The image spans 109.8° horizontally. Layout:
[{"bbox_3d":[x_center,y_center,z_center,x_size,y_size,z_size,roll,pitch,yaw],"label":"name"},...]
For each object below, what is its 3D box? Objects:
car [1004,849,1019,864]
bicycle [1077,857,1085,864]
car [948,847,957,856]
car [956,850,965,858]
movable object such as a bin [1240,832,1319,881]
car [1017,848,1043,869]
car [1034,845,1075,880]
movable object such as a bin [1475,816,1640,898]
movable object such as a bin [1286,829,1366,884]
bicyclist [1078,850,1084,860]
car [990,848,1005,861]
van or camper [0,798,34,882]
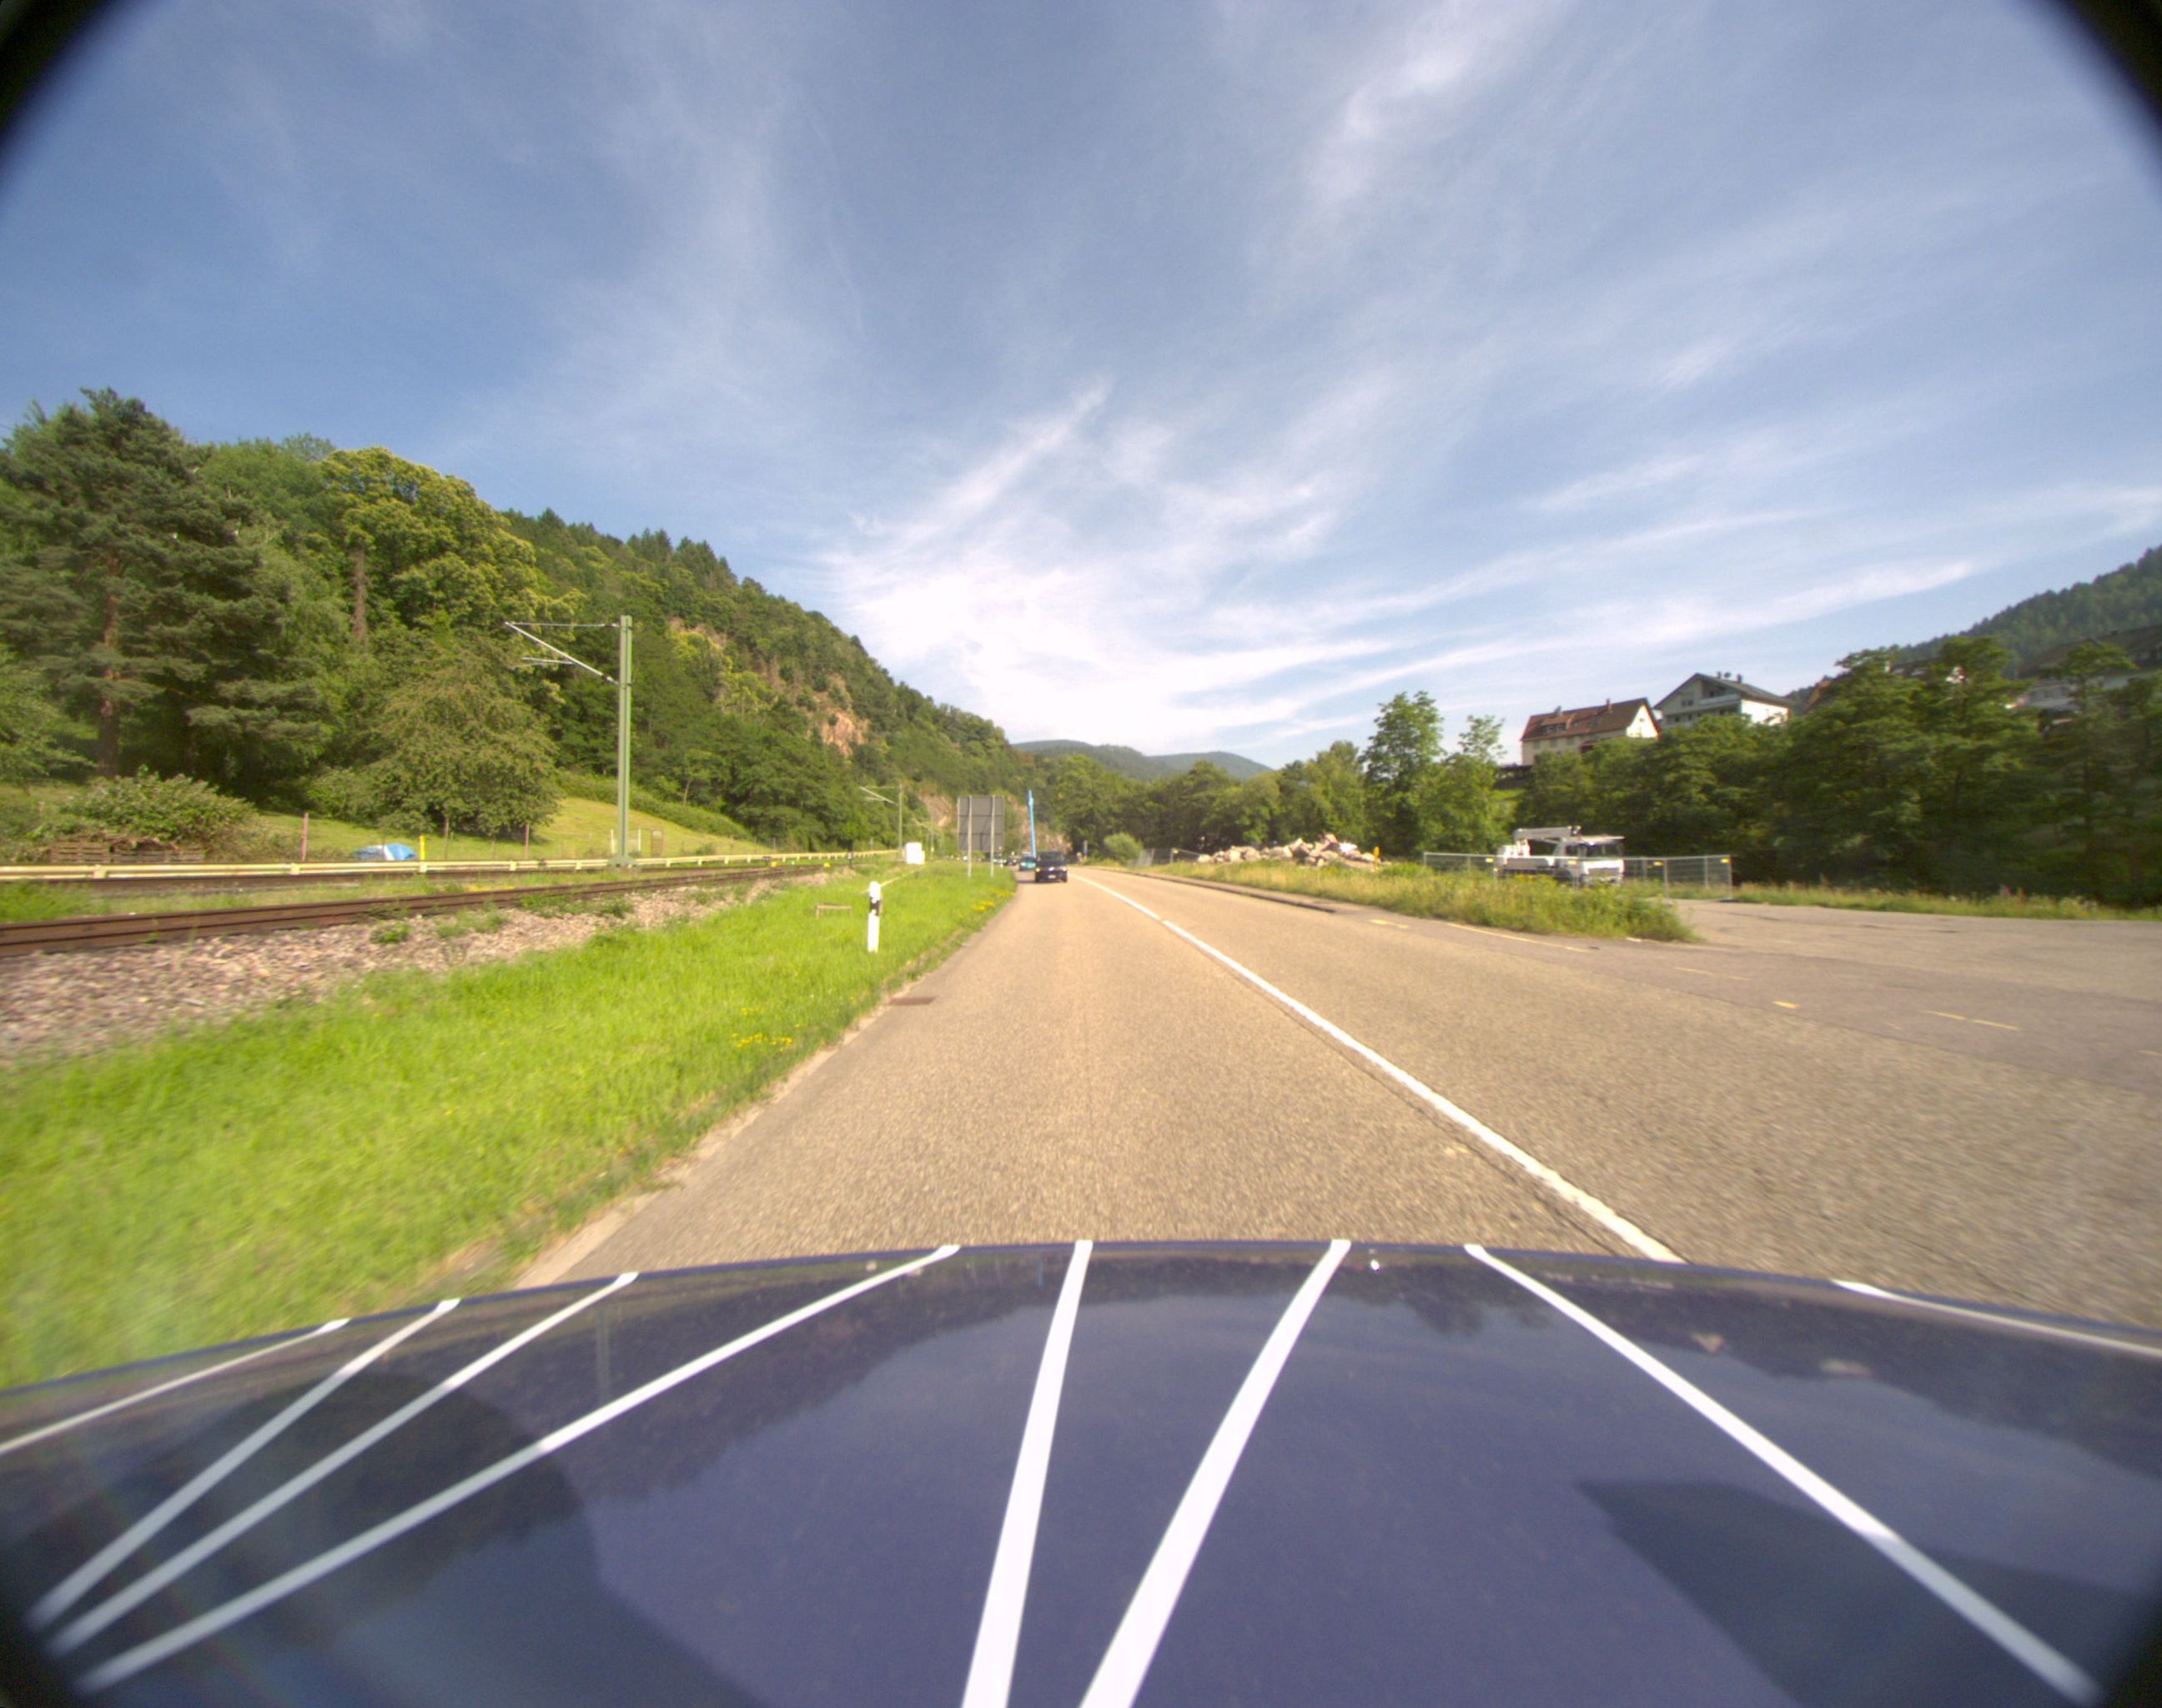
[{"bbox_3d":[-9.910,0.347,109.085,1.999,2.002,3.999,2,0,-4],"label":"car"},{"bbox_3d":[-0.016,0.788,94.769,0.541,0.876,2.251,-2,1,-9],"label":"bicycle"},{"bbox_3d":[-29.522,-0.471,174.726,2.000,2.002,3.997,2,0,-9],"label":"car"},{"bbox_3d":[-30.821,-0.003,194.545,1.999,2.002,3.998,2,0,-5],"label":"car"},{"bbox_3d":[17.386,0.191,67.557,2.709,3.924,9.980,2,0,-10],"label":"movable object such as a bin"},{"bbox_3d":[-5.205,0.481,77.399,2.001,2.002,3.995,2,0,-13],"label":"car"},{"bbox_3d":[-1.655,0.586,46.103,2.000,2.001,3.998,1,-2,-9],"label":"car"},{"bbox_3d":[25.190,0.129,40.775,2.908,3.924,7.801,2,0,-10],"label":"movable object such as a bin"},{"bbox_3d":[18.874,0.197,59.076,2.731,3.924,7.223,2,0,-10],"label":"movable object such as a bin"},{"bbox_3d":[-0.025,0.068,94.726,0.686,1.218,0.857,-1,1,-9],"label":"bicyclist"},{"bbox_3d":[-13.934,0.078,126.770,2.001,2.002,3.995,2,0,-12],"label":"car"},{"bbox_3d":[-27.403,-0.408,16.972,5.429,1.918,2.121,2,0,4],"label":"van or camper"}]
